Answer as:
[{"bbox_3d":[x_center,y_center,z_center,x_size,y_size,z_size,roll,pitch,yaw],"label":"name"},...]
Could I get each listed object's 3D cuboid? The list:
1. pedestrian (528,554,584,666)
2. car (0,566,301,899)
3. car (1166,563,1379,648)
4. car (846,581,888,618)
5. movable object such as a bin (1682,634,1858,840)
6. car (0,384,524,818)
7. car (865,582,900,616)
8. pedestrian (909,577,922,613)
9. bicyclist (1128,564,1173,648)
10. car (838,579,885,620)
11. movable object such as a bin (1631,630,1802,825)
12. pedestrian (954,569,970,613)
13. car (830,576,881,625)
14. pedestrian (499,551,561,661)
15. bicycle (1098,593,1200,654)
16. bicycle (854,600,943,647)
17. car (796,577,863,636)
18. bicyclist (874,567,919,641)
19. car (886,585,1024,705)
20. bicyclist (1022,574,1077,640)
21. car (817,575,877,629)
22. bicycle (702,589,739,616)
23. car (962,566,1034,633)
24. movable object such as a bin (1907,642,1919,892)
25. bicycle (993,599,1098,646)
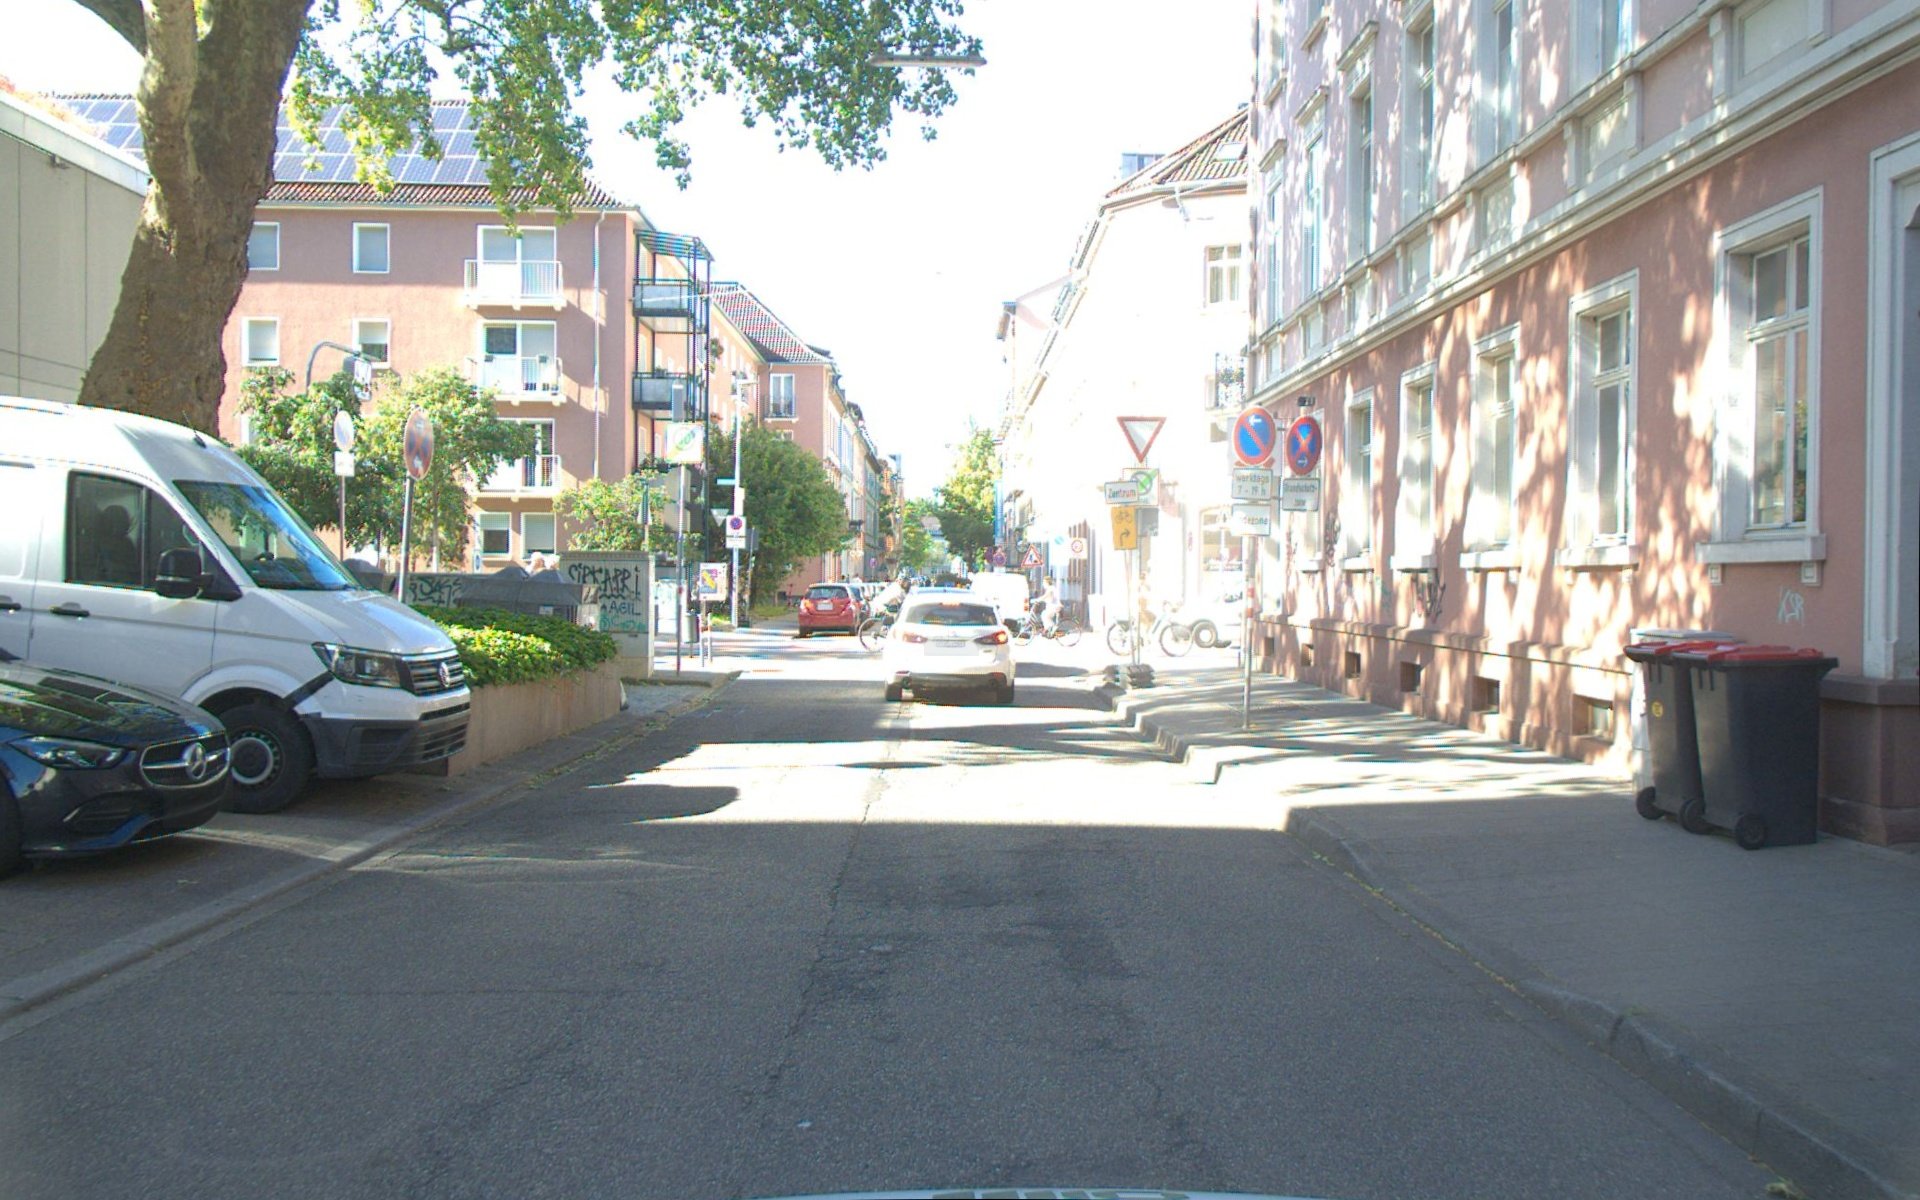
[{"bbox_3d":[-6.859,0.169,28.103,0.839,1.847,0.812,3,-1,-14],"label":"pedestrian"},{"bbox_3d":[-6.146,0.532,8.822,4.408,1.496,1.929,3,0,0],"label":"car"},{"bbox_3d":[7.643,0.123,40.474,4.791,1.962,1.999,1,-1,24],"label":"car"},{"bbox_3d":[-3.924,-0.025,70.323,1.569,1.503,3.567,0,0,0],"label":"car"},{"bbox_3d":[4.471,0.742,9.161,0.687,1.092,0.596,0,0,1],"label":"movable object such as a bin"},{"bbox_3d":[-6.721,-0.109,11.611,6.601,2.599,2.146,3,0,1],"label":"car"},{"bbox_3d":[-3.748,-0.051,80.635,1.540,1.613,3.611,0,0,0],"label":"car"},{"bbox_3d":[-2.260,-0.263,84.159,0.634,1.828,0.639,0,0,0],"label":"pedestrian"},{"bbox_3d":[4.026,0.124,35.019,0.905,1.750,0.943,0,0,5],"label":"bicyclist"},{"bbox_3d":[-3.917,-0.023,66.311,1.685,1.604,3.726,0,0,0],"label":"car"},{"bbox_3d":[4.464,0.734,9.793,0.730,1.105,0.635,0,0,1],"label":"movable object such as a bin"},{"bbox_3d":[0.096,-0.445,81.677,0.755,2.155,0.834,0,0,0],"label":"pedestrian"},{"bbox_3d":[-3.724,0.021,59.528,1.602,1.685,3.785,0,0,0],"label":"car"},{"bbox_3d":[-7.549,0.103,29.037,0.950,1.871,0.679,3,0,-15],"label":"pedestrian"},{"bbox_3d":[3.988,0.488,34.980,2.117,1.277,0.834,0,0,5],"label":"bicycle"},{"bbox_3d":[-1.335,0.501,35.744,1.889,1.003,0.663,0,0,-4],"label":"bicycle"},{"bbox_3d":[-3.783,0.154,48.415,1.734,1.616,3.725,0,1,-1],"label":"car"},{"bbox_3d":[-1.381,0.093,35.741,0.963,1.580,0.760,0,0,-4],"label":"bicyclist"},{"bbox_3d":[-0.102,0.577,23.586,1.787,1.540,3.823,1,1,-1],"label":"car"},{"bbox_3d":[2.120,0.160,38.971,1.170,1.543,0.841,0,0,12],"label":"bicyclist"},{"bbox_3d":[-3.659,0.058,54.015,1.685,1.712,3.726,0,0,0],"label":"car"},{"bbox_3d":[-8.645,0.092,59.631,0.598,0.948,1.893,0,0,-33],"label":"bicycle"},{"bbox_3d":[1.151,-0.024,51.702,1.904,1.982,4.076,1,0,-3],"label":"car"},{"bbox_3d":[4.695,0.755,7.219,0.715,1.123,0.692,0,0,-3],"label":"movable object such as a bin"},{"bbox_3d":[2.019,0.525,39.034,2.373,1.098,0.791,0,0,12],"label":"bicycle"}]
